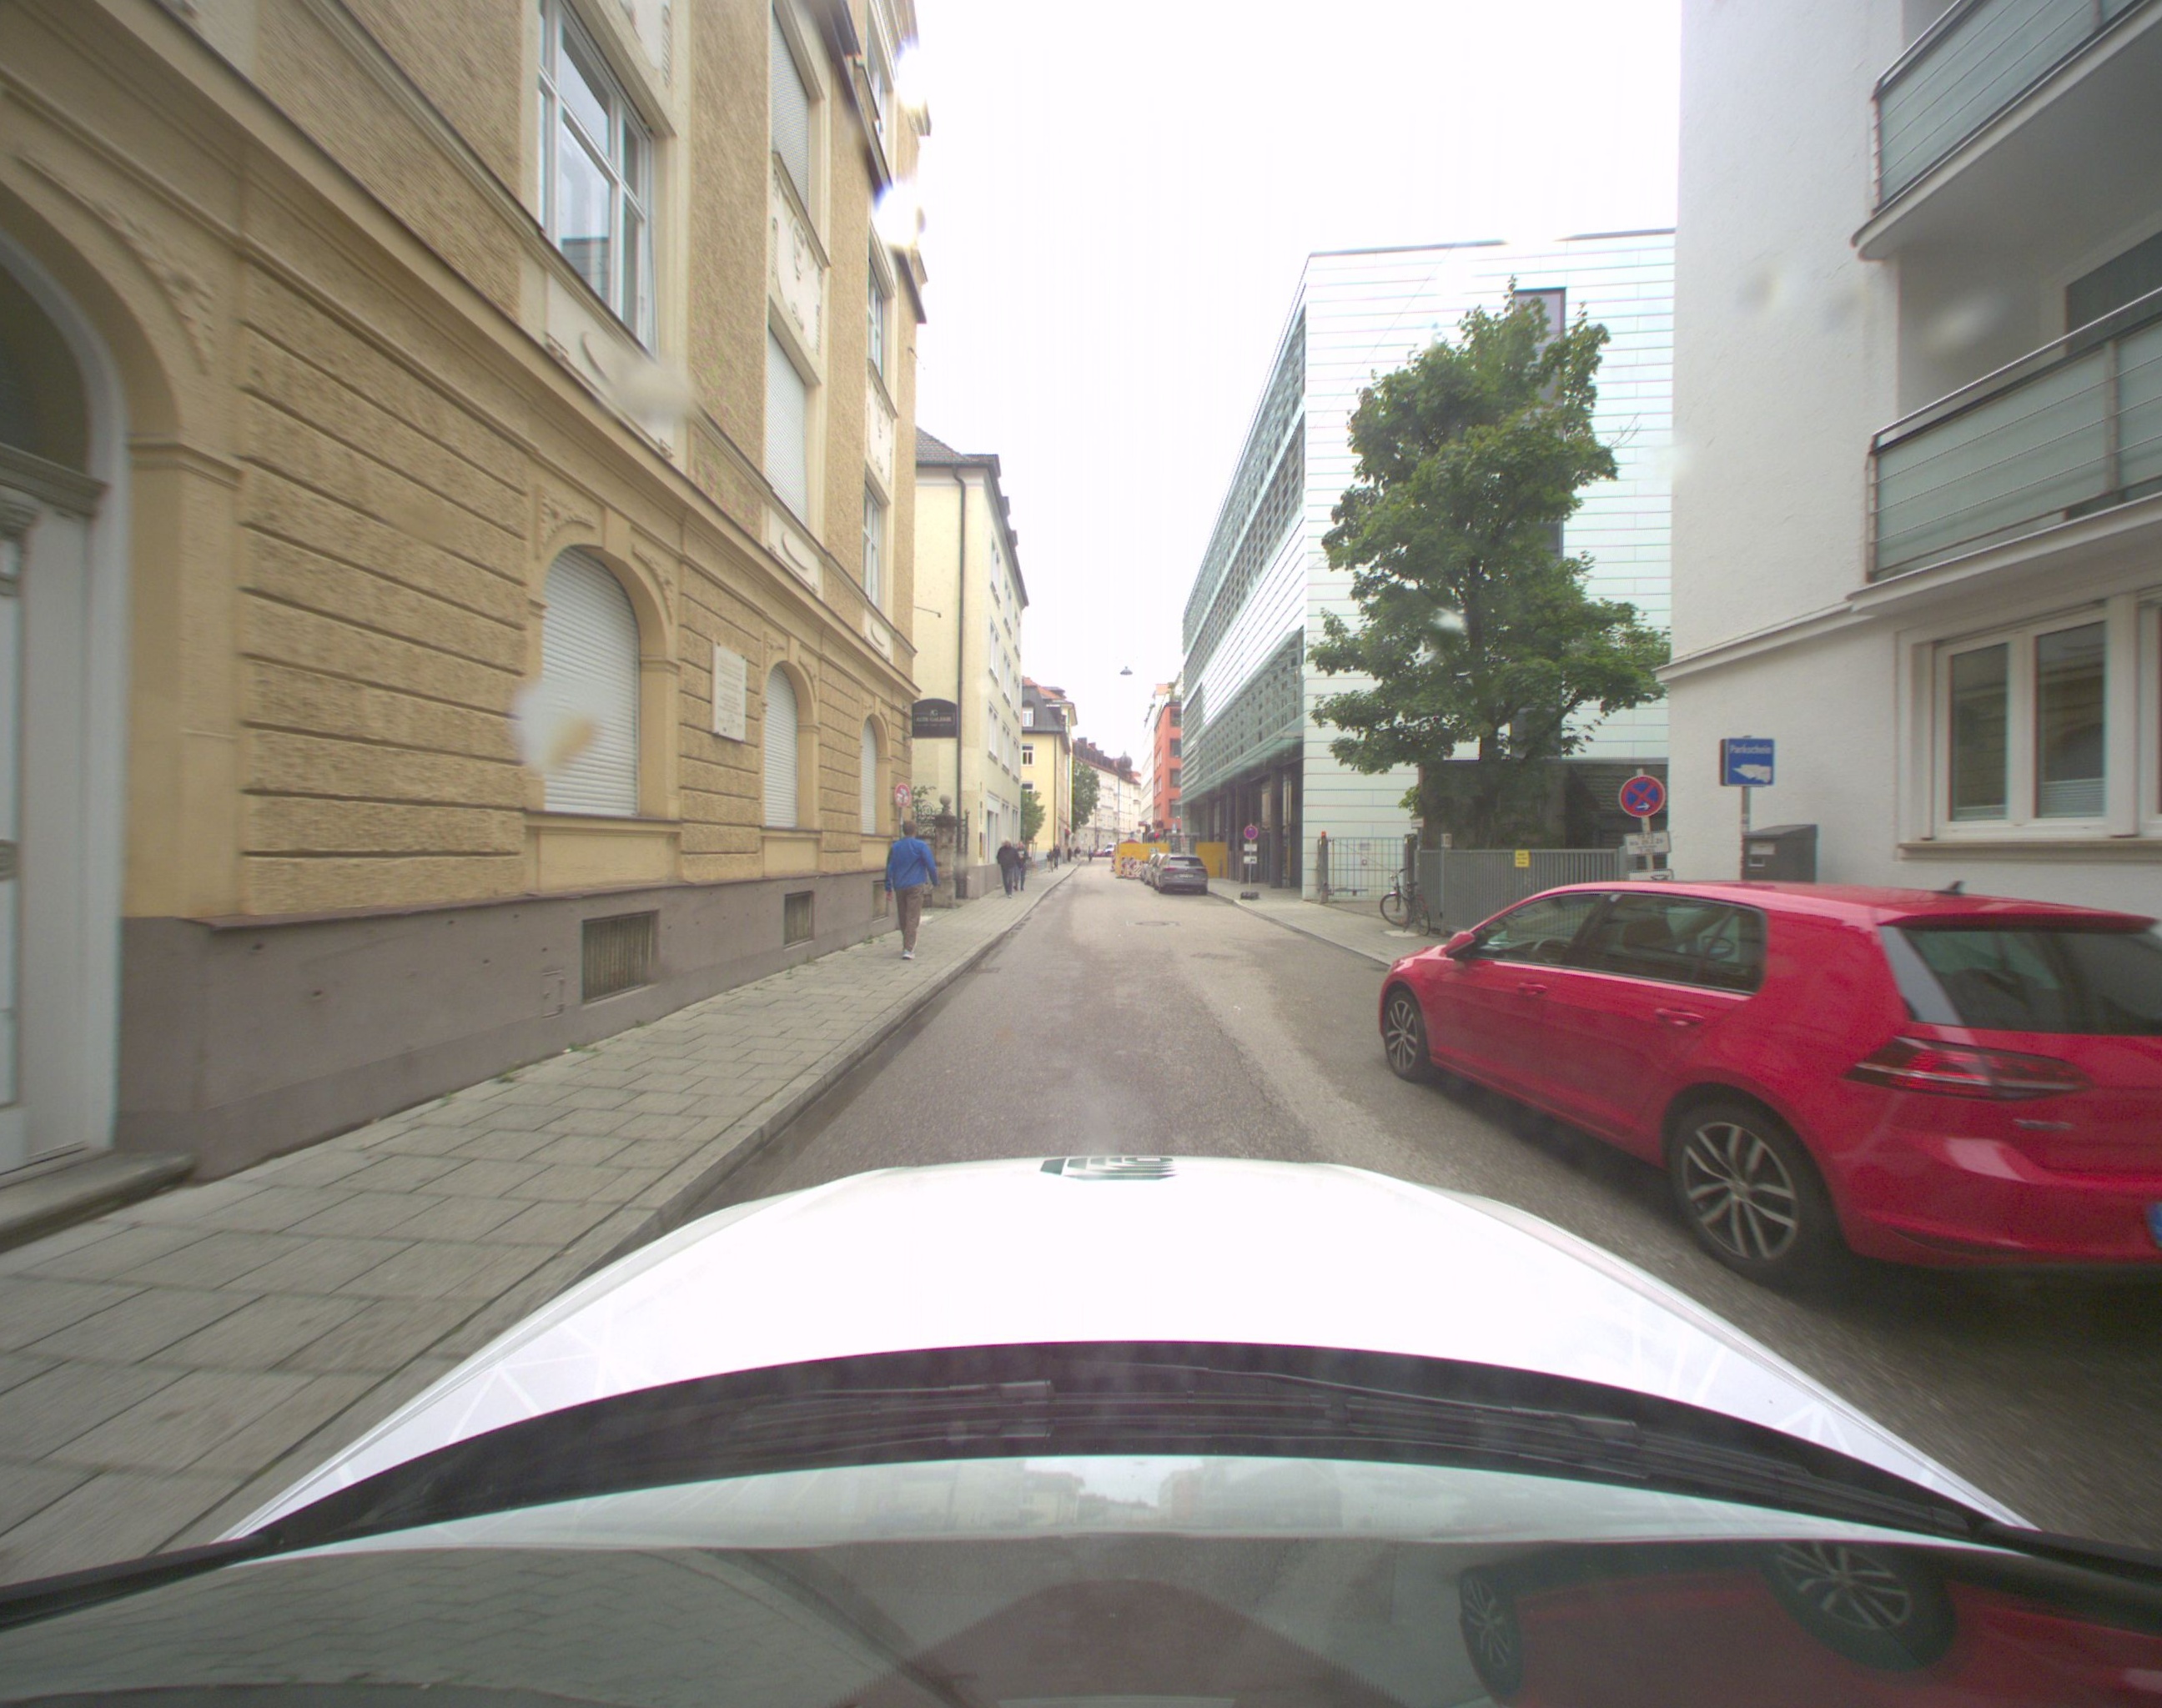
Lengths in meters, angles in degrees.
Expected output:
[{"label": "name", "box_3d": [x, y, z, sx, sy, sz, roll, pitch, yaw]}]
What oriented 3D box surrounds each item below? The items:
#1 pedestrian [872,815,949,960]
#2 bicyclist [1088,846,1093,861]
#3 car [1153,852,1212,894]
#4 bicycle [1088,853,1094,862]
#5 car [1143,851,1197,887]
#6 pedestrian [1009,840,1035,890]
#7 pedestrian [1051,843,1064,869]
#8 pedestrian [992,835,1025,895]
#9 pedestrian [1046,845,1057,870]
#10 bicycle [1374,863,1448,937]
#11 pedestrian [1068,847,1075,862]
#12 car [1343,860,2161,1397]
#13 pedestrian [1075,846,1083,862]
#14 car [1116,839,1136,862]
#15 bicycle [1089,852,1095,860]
[{"label": "pedestrian", "box_3d": [-2.303, 0.432, 11.121, 0.754, 1.854, 1.077, 2, 0, 1]}, {"label": "bicyclist", "box_3d": [1.079, -0.043, 91.767, 0.657, 1.643, 0.895, 0, 0, 0]}, {"label": "car", "box_3d": [3.722, 0.661, 30.531, 1.702, 1.432, 4.329, 1, 0, 0]}, {"label": "bicycle", "box_3d": [1.082, 0.415, 91.719, 0.659, 1.039, 2.005, 0, 0, 1]}, {"label": "car", "box_3d": [3.841, 0.622, 35.825, 1.703, 1.467, 4.233, 2, 0, -2]}, {"label": "pedestrian", "box_3d": [-2.030, 0.358, 28.186, 0.710, 1.666, 0.930, 3, 0, 1]}, {"label": "pedestrian", "box_3d": [-1.777, 0.142, 61.552, 0.865, 1.881, 1.135, 1, 0, 0]}, {"label": "pedestrian", "box_3d": [-2.244, 0.328, 25.301, 0.902, 1.827, 0.956, 1, 0, 0]}, {"label": "pedestrian", "box_3d": [-2.011, 0.257, 55.486, 0.645, 1.676, 0.723, 1, 0, 0]}, {"label": "bicycle", "box_3d": [6.246, 0.837, 15.502, 0.705, 1.198, 1.835, 0, 3, 2]}, {"label": "pedestrian", "box_3d": [-1.054, 0.049, 88.790, 0.668, 1.648, 0.761, 1, 0, 0]}, {"label": "car", "box_3d": [3.168, 0.807, 4.498, 1.758, 1.447, 4.292, 2, 0, -5]}, {"label": "pedestrian", "box_3d": [-0.222, -0.040, 88.511, 0.836, 1.700, 0.803, 1, 0, 0]}, {"label": "car", "box_3d": [5.131, -0.421, 93.112, 1.987, 2.536, 4.975, 1, 0, 0]}, {"label": "bicycle", "box_3d": [1.252, 0.277, 95.690, 0.705, 0.905, 1.809, 0, 0, 1]}]
